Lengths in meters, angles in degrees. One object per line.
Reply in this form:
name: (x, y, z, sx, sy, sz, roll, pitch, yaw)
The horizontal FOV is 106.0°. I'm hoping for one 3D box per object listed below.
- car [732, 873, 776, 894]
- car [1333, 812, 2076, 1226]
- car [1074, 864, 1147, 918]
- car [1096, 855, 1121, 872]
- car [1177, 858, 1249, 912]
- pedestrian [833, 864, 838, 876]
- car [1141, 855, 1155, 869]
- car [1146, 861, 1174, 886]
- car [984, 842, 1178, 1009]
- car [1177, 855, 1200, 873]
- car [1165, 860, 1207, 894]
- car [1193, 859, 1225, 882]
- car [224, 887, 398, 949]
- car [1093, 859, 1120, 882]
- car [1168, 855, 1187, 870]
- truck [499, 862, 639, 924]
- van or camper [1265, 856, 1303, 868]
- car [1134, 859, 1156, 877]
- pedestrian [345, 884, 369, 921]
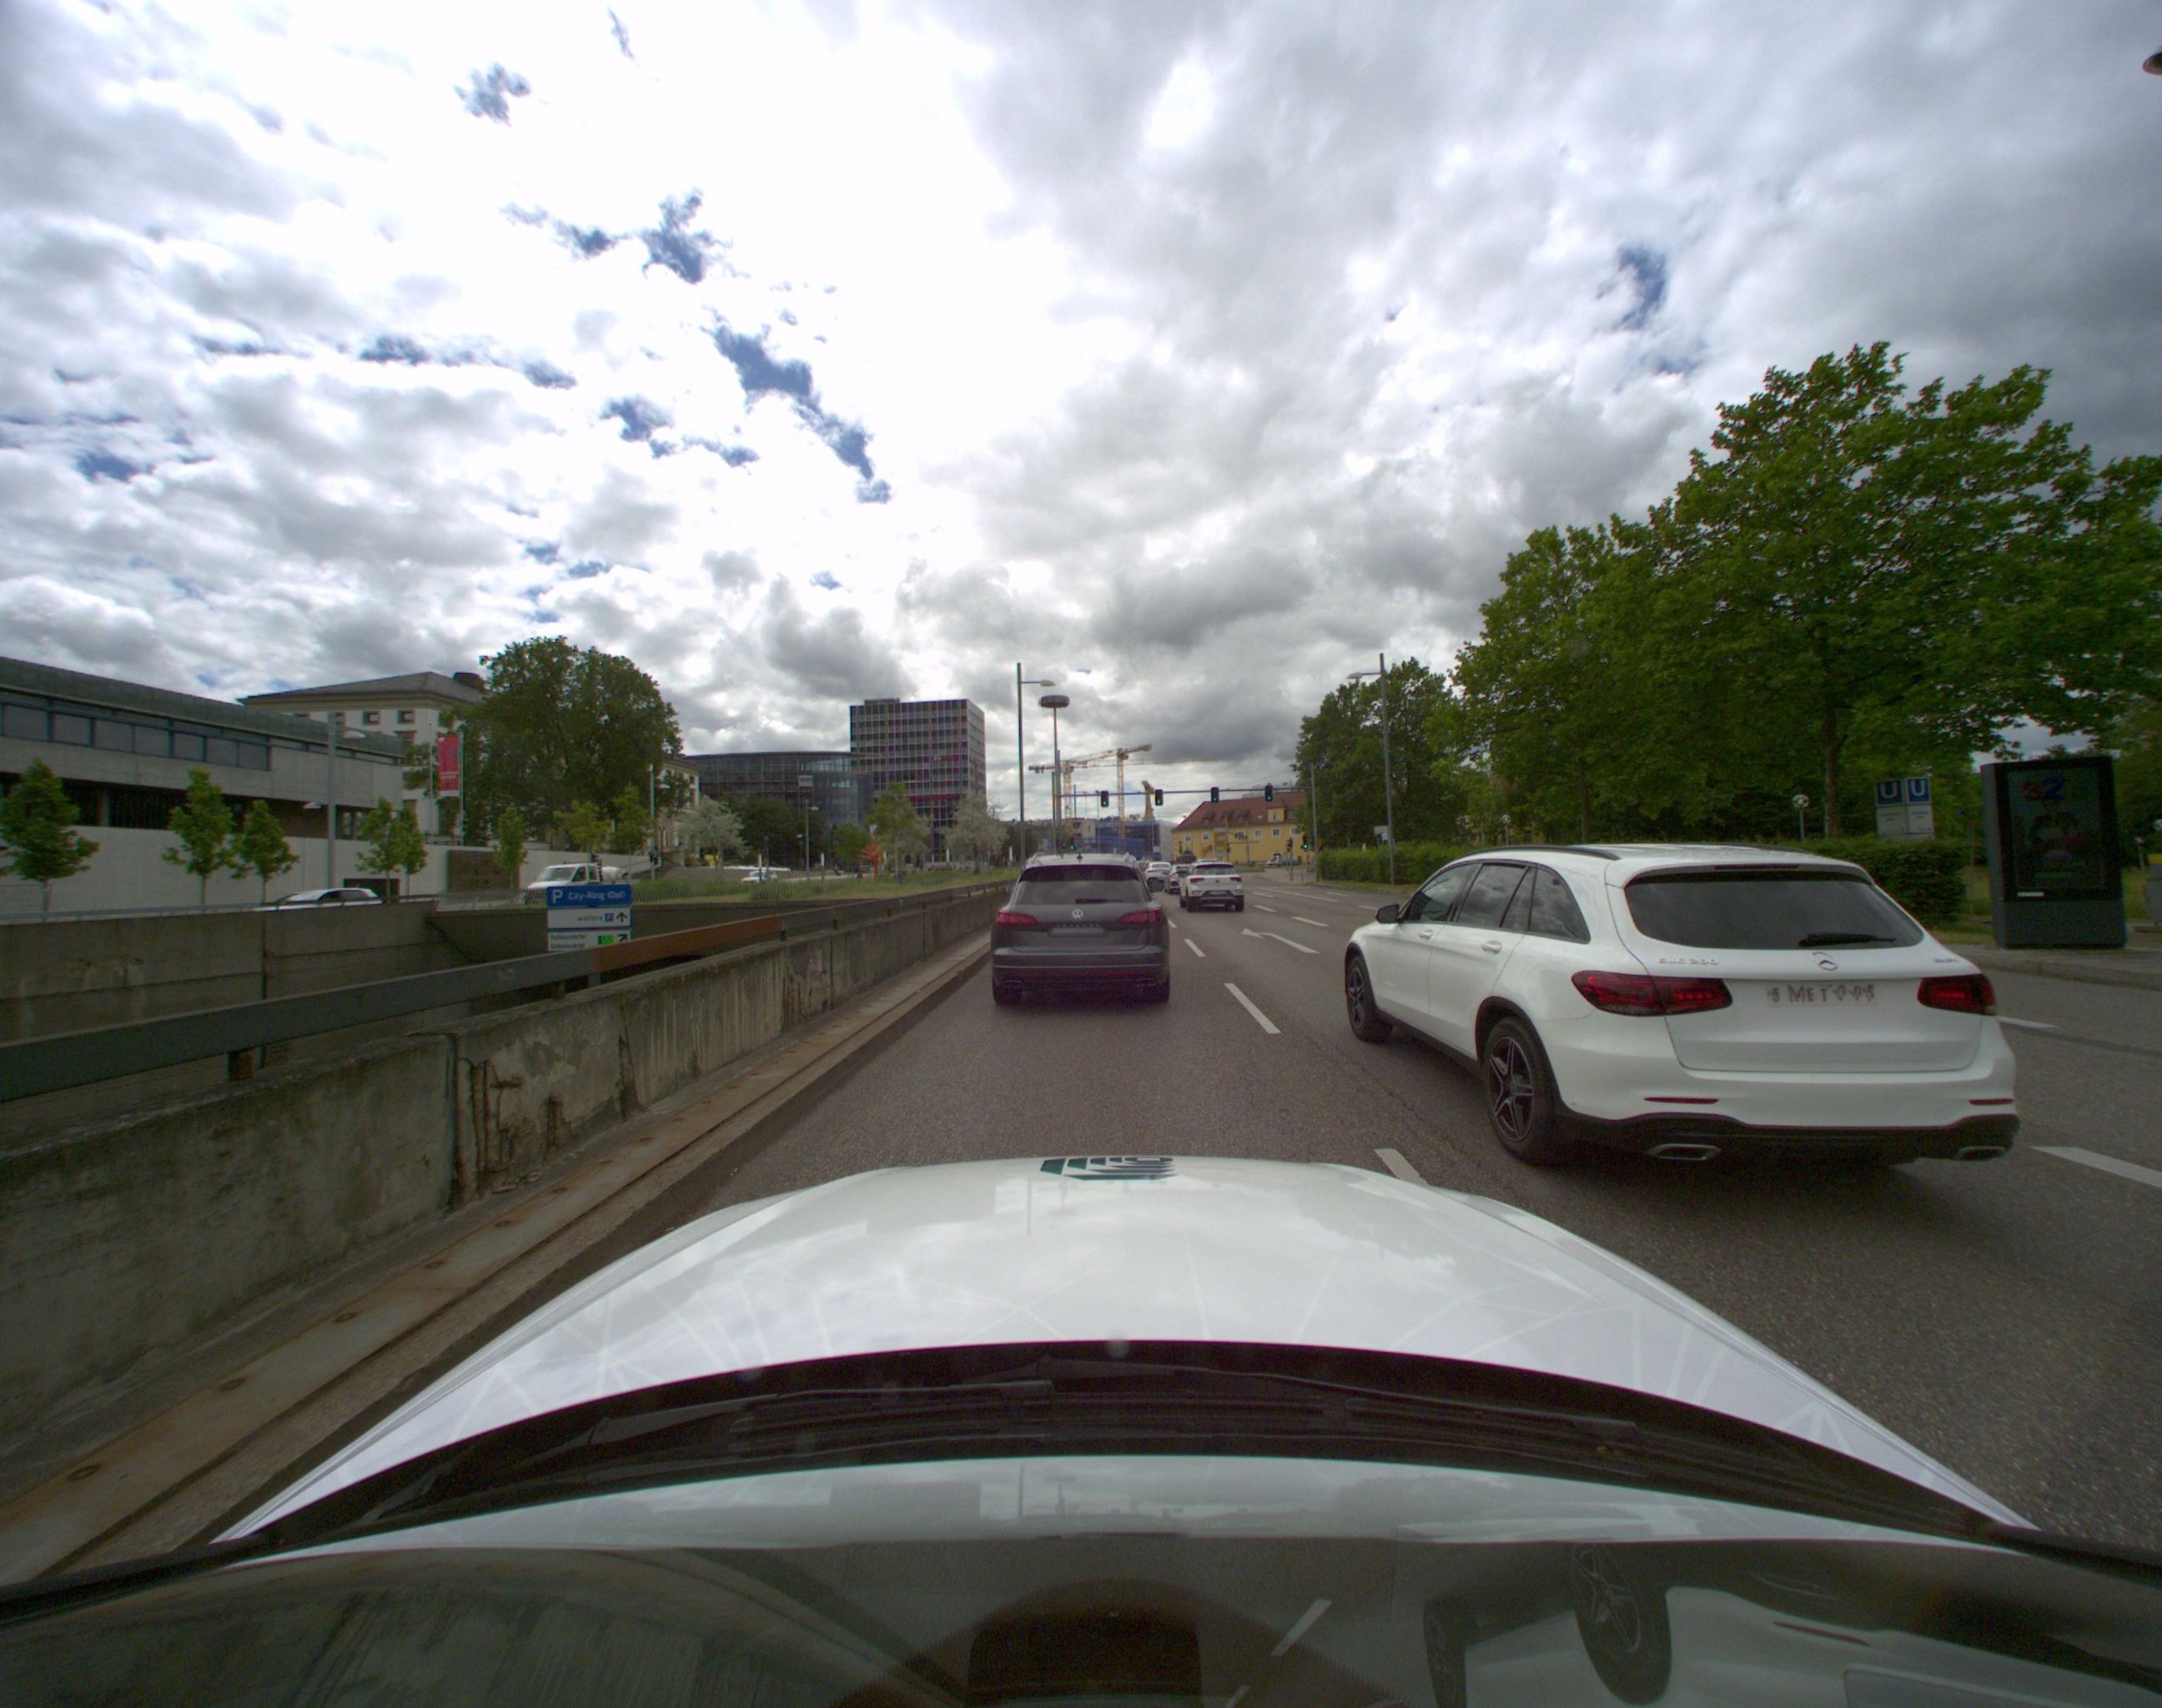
car: (-28.526, 2.557, 71.157, 1.711, 1.574, 4.616, -1, 0, 3)
car: (3.167, 0.676, 5.470, 1.811, 1.647, 4.382, -1, 0, 3)
car: (0.883, 1.043, 24.445, 1.986, 1.387, 4.002, -1, 0, 2)
car: (2.661, 0.881, 77.790, 2.235, 1.502, 4.615, -1, 0, 3)
car: (4.240, 0.951, 26.663, 1.886, 1.585, 3.803, -1, 0, 2)
pedestrian: (-33.723, 2.132, 111.852, 0.522, 1.649, 0.651, 0, -1, 1)
car: (10.243, 1.183, 124.594, 1.986, 2.014, 4.002, -1, 0, 2)
car: (5.068, 1.192, 52.163, 1.710, 1.502, 3.987, -1, 0, 6)
car: (0.072, 0.729, 10.161, 1.925, 1.647, 4.002, -1, 0, 2)
car: (9.670, 0.877, 73.270, 1.711, 1.502, 3.984, -1, 0, 3)
car: (5.083, 1.085, 39.810, 1.711, 1.502, 4.147, -1, 0, 3)
car: (9.002, 1.147, 57.527, 1.795, 1.502, 3.984, -1, 0, 3)
car: (-27.012, 2.187, 28.824, 1.986, 1.816, 4.260, -1, 0, 2)
car: (1.772, 1.104, 55.934, 1.807, 1.496, 3.908, -1, 0, 2)
car: (10.301, 0.916, 86.901, 1.711, 1.502, 3.984, -1, 0, 3)
truck: (-26.471, 1.916, 42.539, 2.453, 2.816, 7.085, -1, 0, 3)
van or camper: (34.915, 1.355, 139.944, 5.947, 2.014, 2.032, -2, -1, 38)
car: (6.414, 1.449, 81.952, 2.130, 1.728, 4.074, -1, -1, 4)
pedestrian: (-34.172, 2.280, 38.433, 0.538, 1.734, 0.664, -1, -1, 2)
